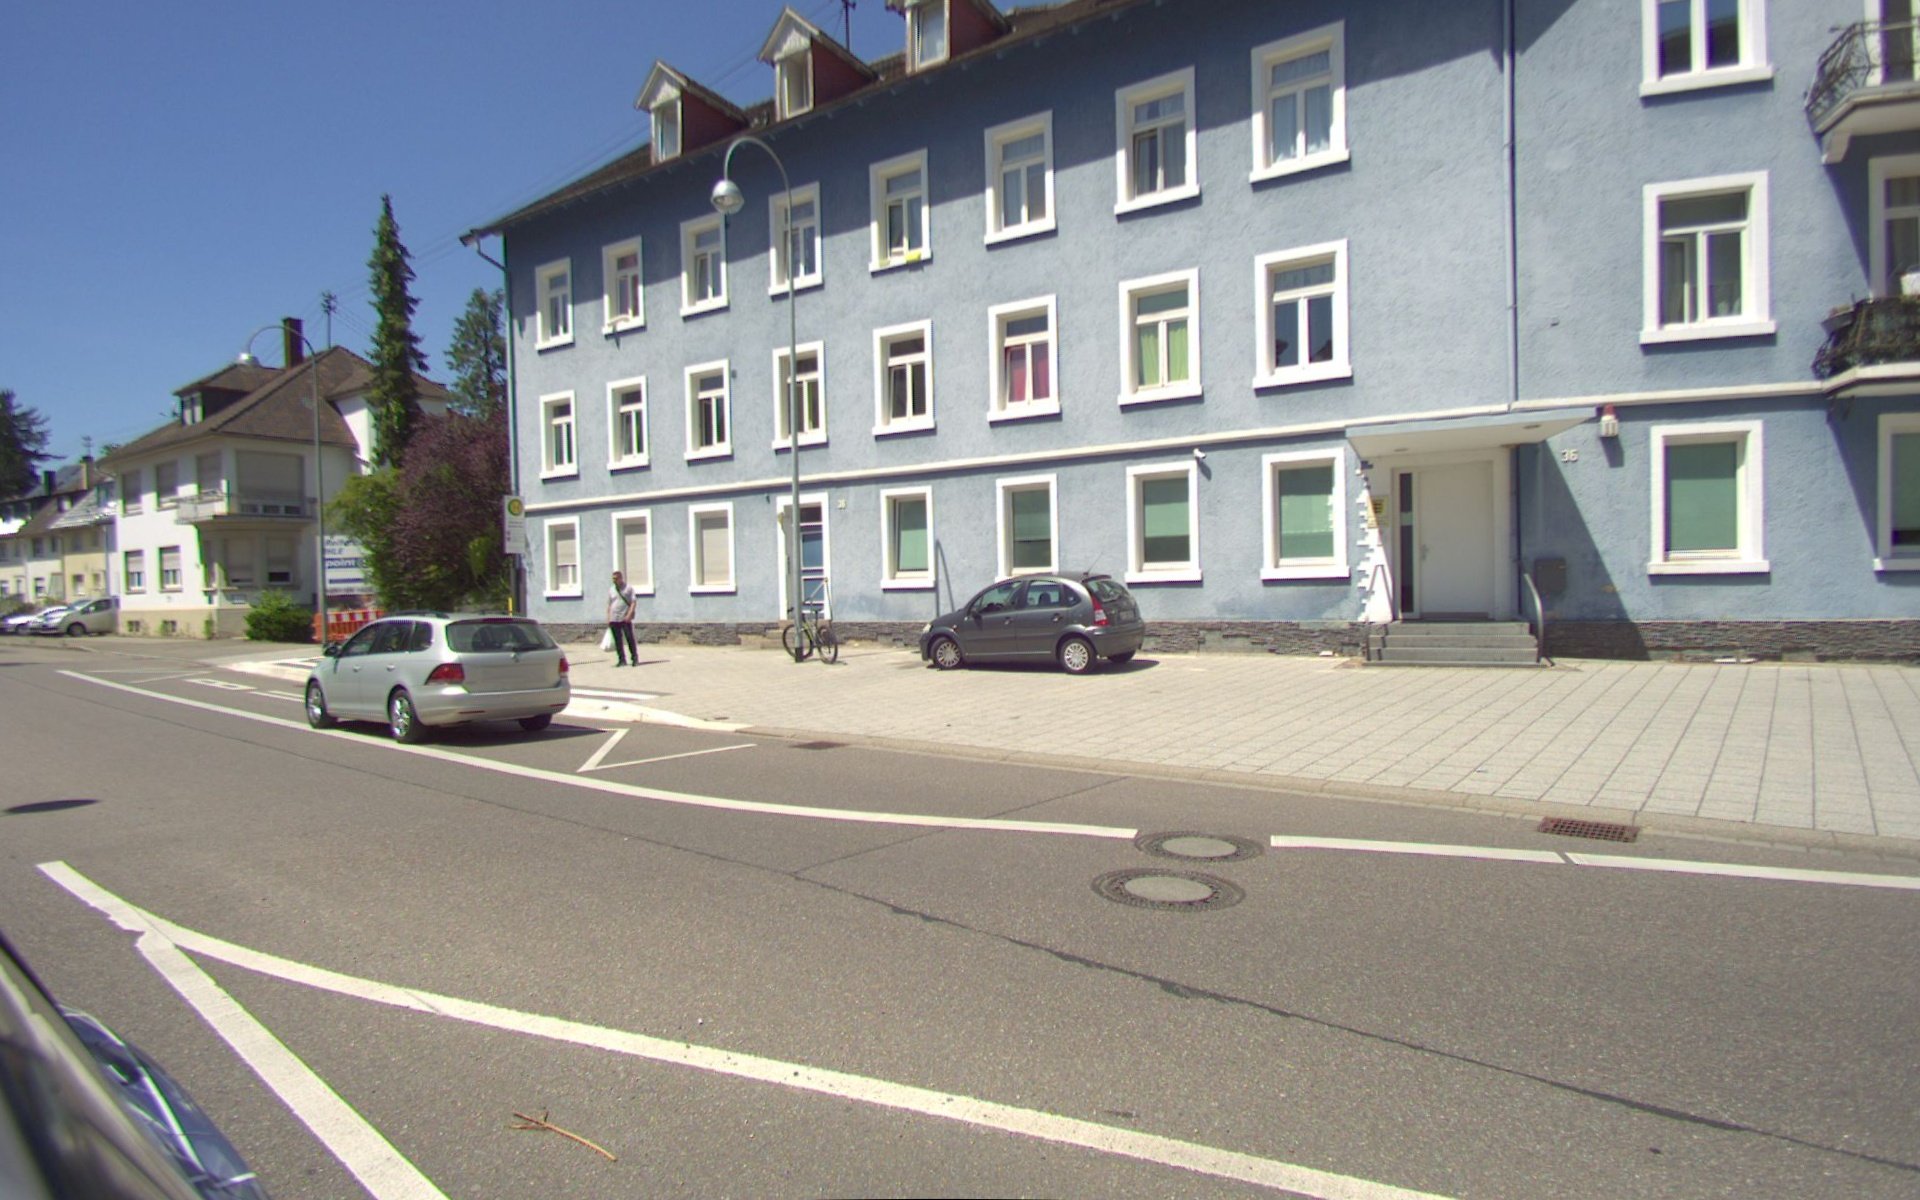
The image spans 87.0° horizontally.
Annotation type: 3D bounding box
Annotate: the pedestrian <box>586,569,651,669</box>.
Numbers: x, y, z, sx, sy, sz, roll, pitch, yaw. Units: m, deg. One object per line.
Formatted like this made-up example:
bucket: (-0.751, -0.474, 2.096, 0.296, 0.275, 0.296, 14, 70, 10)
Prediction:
pedestrian: (-6.646, 0.360, 19.711, 0.769, 1.861, 0.750, -1, 4, 33)

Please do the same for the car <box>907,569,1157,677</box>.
car: (1.106, 0.283, 16.265, 3.766, 1.546, 1.564, 1, 2, 35)

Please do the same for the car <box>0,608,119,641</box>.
car: (-44.074, 1.186, 49.492, 4.201, 1.507, 1.883, 0, -1, -24)

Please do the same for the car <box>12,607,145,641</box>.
car: (-41.520, 1.101, 47.780, 1.972, 1.507, 4.432, -1, -1, 36)

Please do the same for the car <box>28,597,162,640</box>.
car: (-39.538, 0.838, 46.357, 1.841, 1.891, 4.325, -1, -1, 27)

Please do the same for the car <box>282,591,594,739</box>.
car: (-6.616, 0.859, 12.636, 4.388, 1.542, 1.819, -4, -7, 39)

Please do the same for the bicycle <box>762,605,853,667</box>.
bicycle: (-2.772, 0.629, 18.299, 1.974, 0.984, 0.490, 1, 6, 45)
